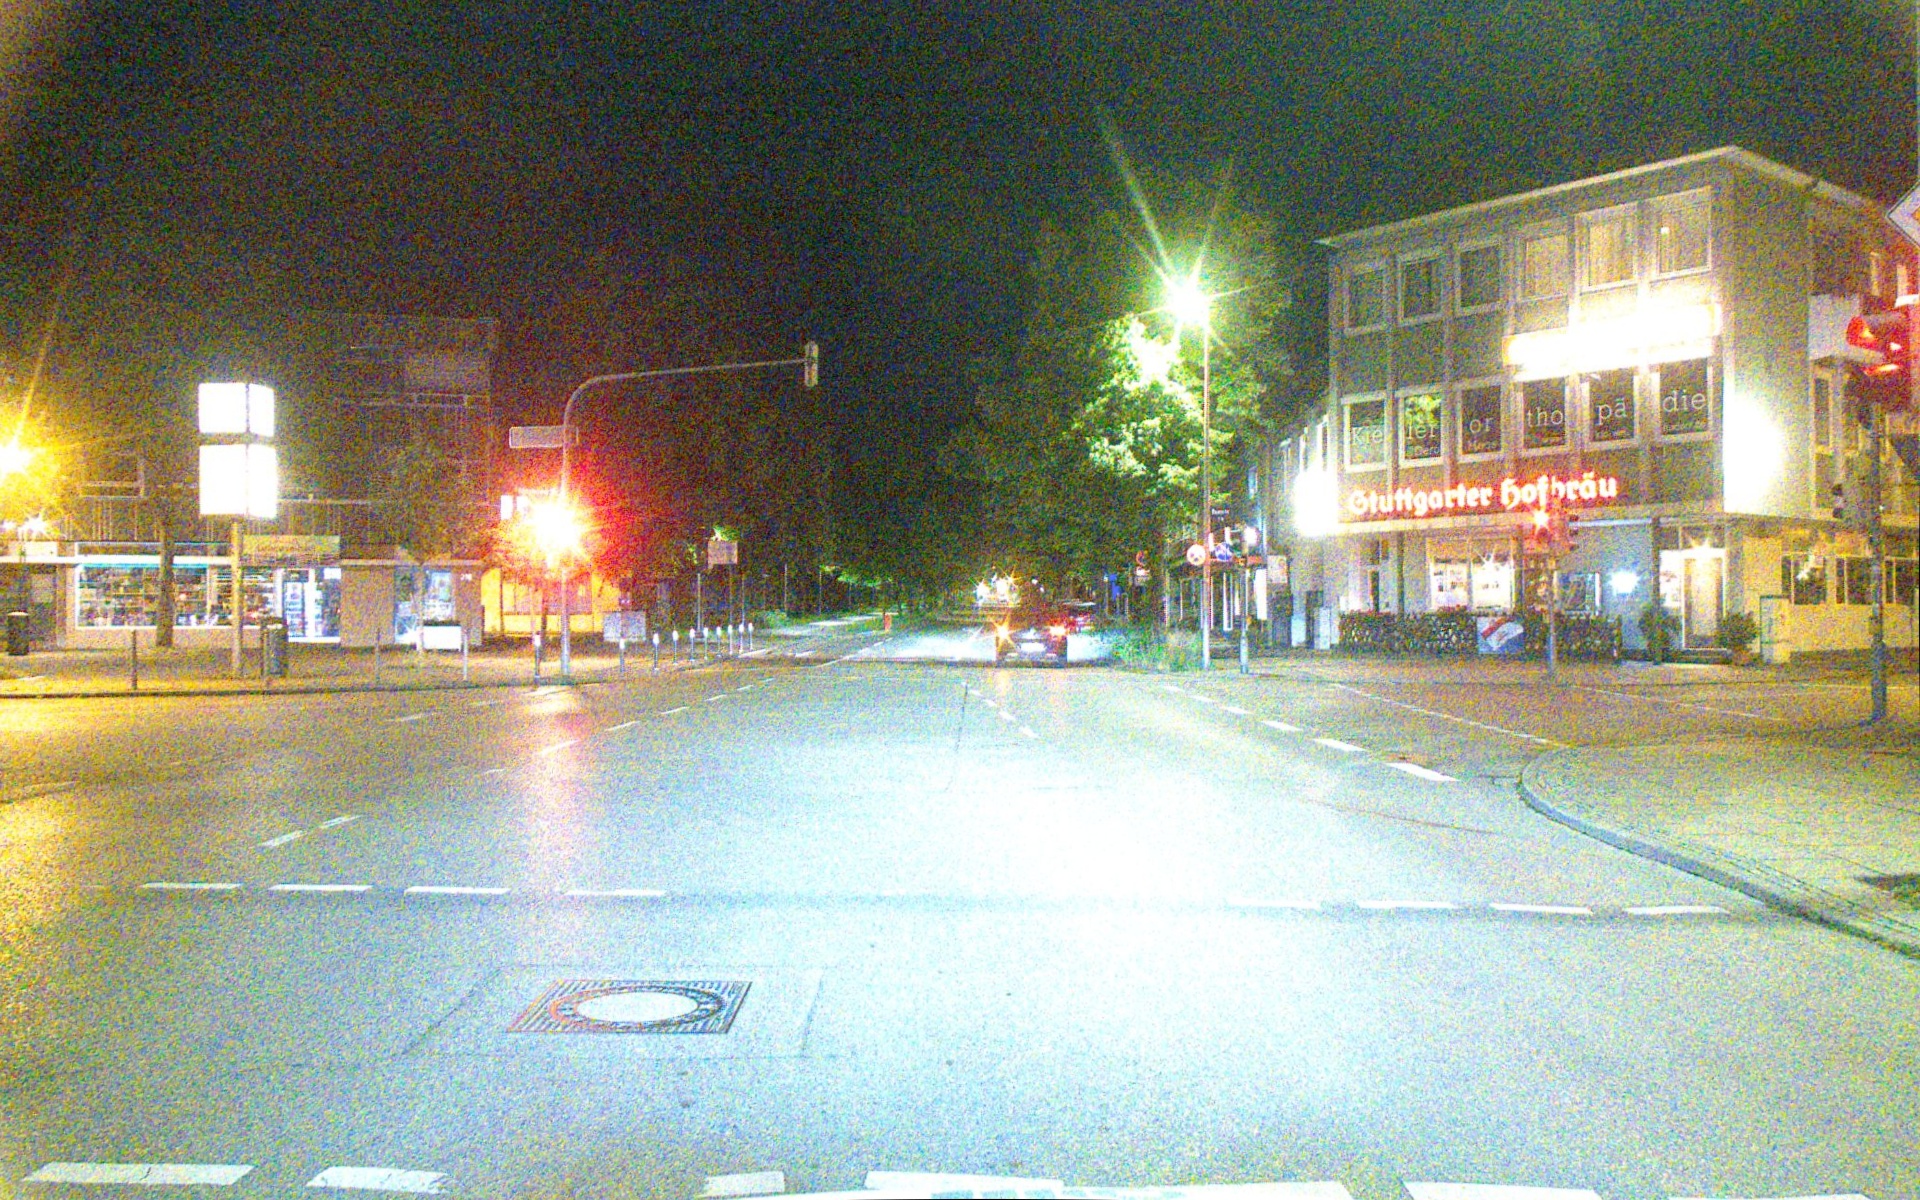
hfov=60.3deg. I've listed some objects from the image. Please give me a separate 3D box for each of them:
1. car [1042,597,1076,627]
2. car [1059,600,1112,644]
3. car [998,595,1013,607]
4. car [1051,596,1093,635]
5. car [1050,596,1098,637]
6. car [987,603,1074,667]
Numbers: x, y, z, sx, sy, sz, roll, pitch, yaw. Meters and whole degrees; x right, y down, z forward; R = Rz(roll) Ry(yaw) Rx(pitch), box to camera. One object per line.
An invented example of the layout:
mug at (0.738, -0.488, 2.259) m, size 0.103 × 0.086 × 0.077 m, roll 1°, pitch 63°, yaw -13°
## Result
car at (5.656, 0.683, 94.587) m, size 1.837 × 1.713 × 4.001 m, roll 0°, pitch 0°, yaw 2°
car at (4.786, 0.821, 63.524) m, size 1.837 × 1.643 × 4.001 m, roll 0°, pitch 0°, yaw 2°
car at (6.811, 0.170, 247.320) m, size 2.181 × 1.680 × 4.000 m, roll 0°, pitch 0°, yaw 0°
car at (5.150, 0.708, 76.533) m, size 1.837 × 1.759 × 4.001 m, roll 0°, pitch 0°, yaw 2°
car at (4.726, 0.679, 68.856) m, size 1.837 × 1.643 × 4.001 m, roll 0°, pitch 0°, yaw 2°
car at (1.716, 0.838, 41.462) m, size 1.836 × 1.479 × 4.314 m, roll 1°, pitch 0°, yaw -2°
